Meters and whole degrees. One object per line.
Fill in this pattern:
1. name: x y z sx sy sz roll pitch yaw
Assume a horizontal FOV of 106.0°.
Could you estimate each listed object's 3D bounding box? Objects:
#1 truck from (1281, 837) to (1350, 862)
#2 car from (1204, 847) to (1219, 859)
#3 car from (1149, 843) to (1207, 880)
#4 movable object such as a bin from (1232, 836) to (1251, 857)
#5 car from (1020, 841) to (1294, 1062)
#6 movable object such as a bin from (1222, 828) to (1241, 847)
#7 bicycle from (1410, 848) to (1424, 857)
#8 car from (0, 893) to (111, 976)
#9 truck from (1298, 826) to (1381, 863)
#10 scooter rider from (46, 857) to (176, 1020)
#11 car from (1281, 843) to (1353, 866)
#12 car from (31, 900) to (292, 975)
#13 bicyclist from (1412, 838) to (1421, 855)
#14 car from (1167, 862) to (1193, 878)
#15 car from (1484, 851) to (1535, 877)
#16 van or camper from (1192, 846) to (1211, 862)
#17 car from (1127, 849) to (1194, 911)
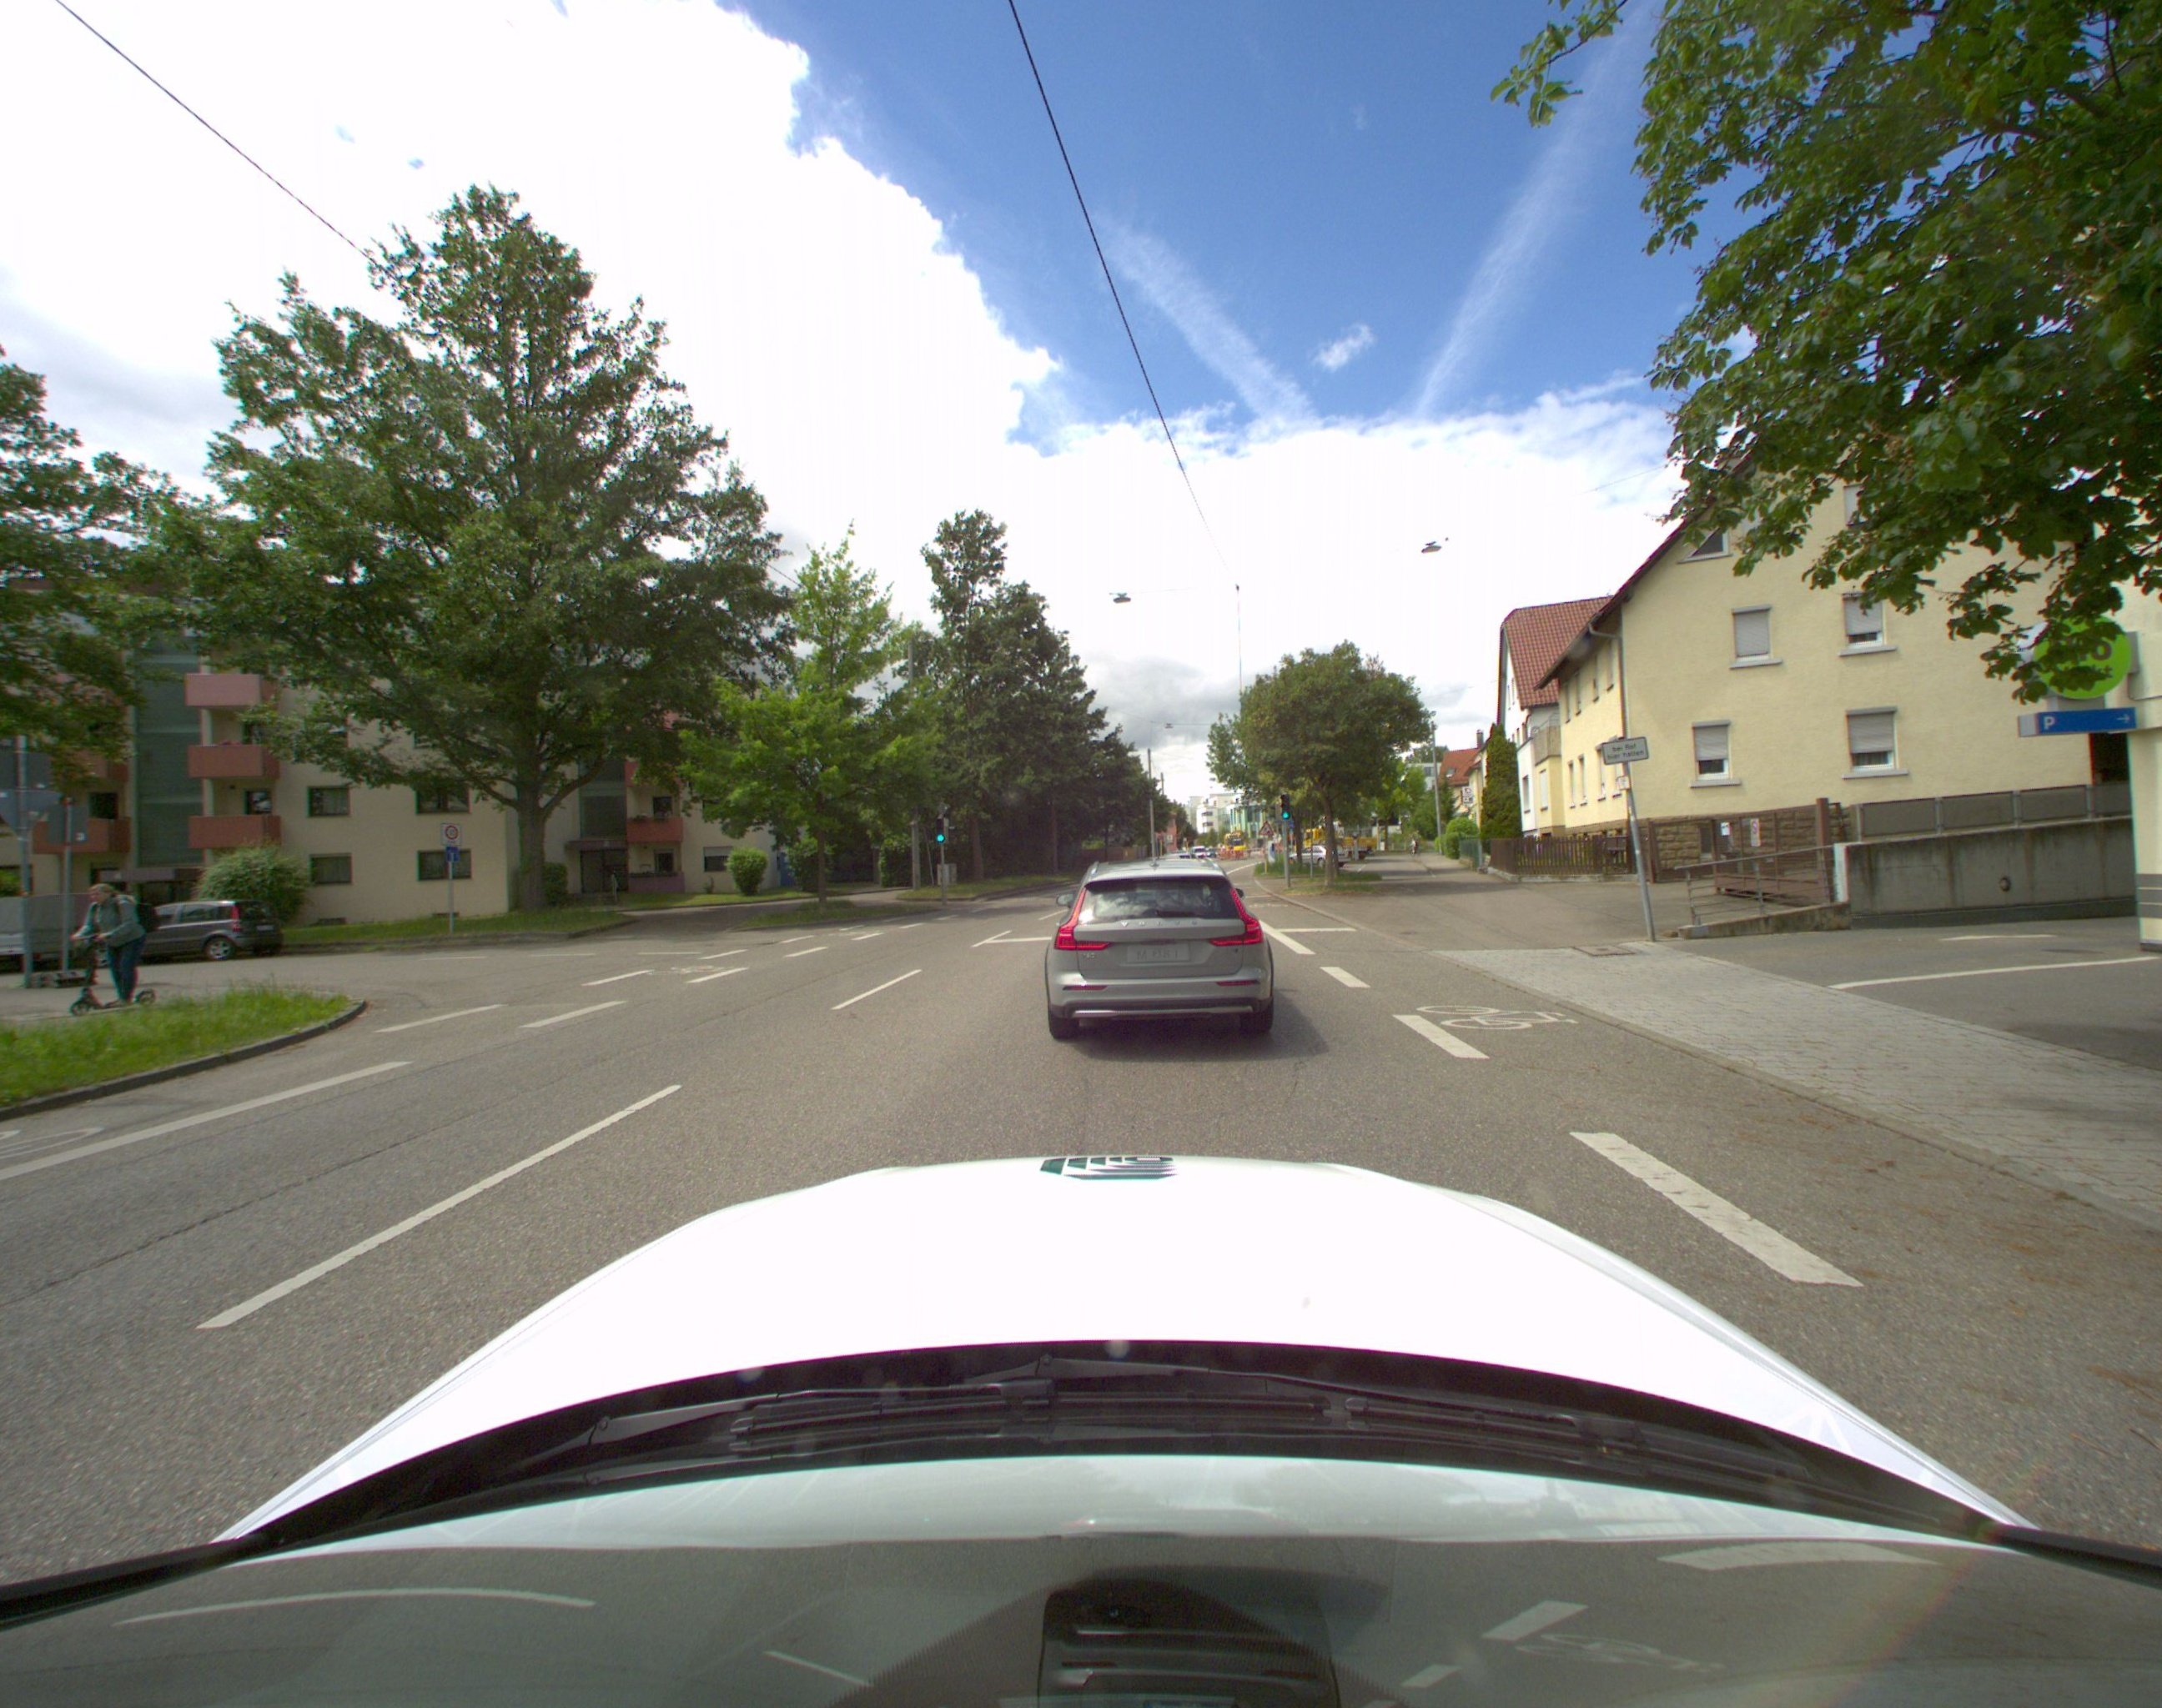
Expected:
1. truck: 19.631 -0.353 68.482 2.007 2.014 5.619 0 -1 -33
2. car: 19.575 -0.076 121.917 1.980 1.737 4.013 0 -1 12
3. car: 4.260 0.335 35.167 2.088 1.510 4.014 0 -1 13
4. movable object such as a bin: 21.489 -1.058 108.817 2.020 2.642 5.961 -3 0 13
5. car: 0.684 0.701 7.884 1.919 1.540 4.004 -2 0 4
6. movable object such as a bin: 24.356 -2.639 132.073 2.299 2.990 6.436 -3 0 5
7. bicycle: 30.839 -0.143 74.732 0.592 0.812 1.754 0 0 1
8. car: -27.127 2.094 19.905 3.990 1.844 1.838 -5 0 -12
9. truck: 22.177 -0.742 70.159 2.780 3.008 6.639 0 -1 -32
10. scooter rider: -12.415 1.044 10.450 0.674 2.014 0.794 0 -1 1
11. car: 15.583 0.061 53.989 1.773 1.451 4.644 -2 0 -30
12. car: -22.782 2.019 20.360 3.995 1.452 1.687 -3 -1 -16
13. bicyclist: 30.840 -0.654 74.764 0.587 1.559 0.567 0 -1 1
14. car: 8.356 1.387 68.627 1.816 1.330 4.012 0 -2 11
15. car: 19.336 0.445 36.839 1.450 1.124 3.890 0 -1 19
16. van or camper: 14.085 0.011 95.154 1.848 1.776 4.395 -3 0 12
17. car: 2.109 0.652 21.887 1.653 1.508 3.707 0 -1 5
